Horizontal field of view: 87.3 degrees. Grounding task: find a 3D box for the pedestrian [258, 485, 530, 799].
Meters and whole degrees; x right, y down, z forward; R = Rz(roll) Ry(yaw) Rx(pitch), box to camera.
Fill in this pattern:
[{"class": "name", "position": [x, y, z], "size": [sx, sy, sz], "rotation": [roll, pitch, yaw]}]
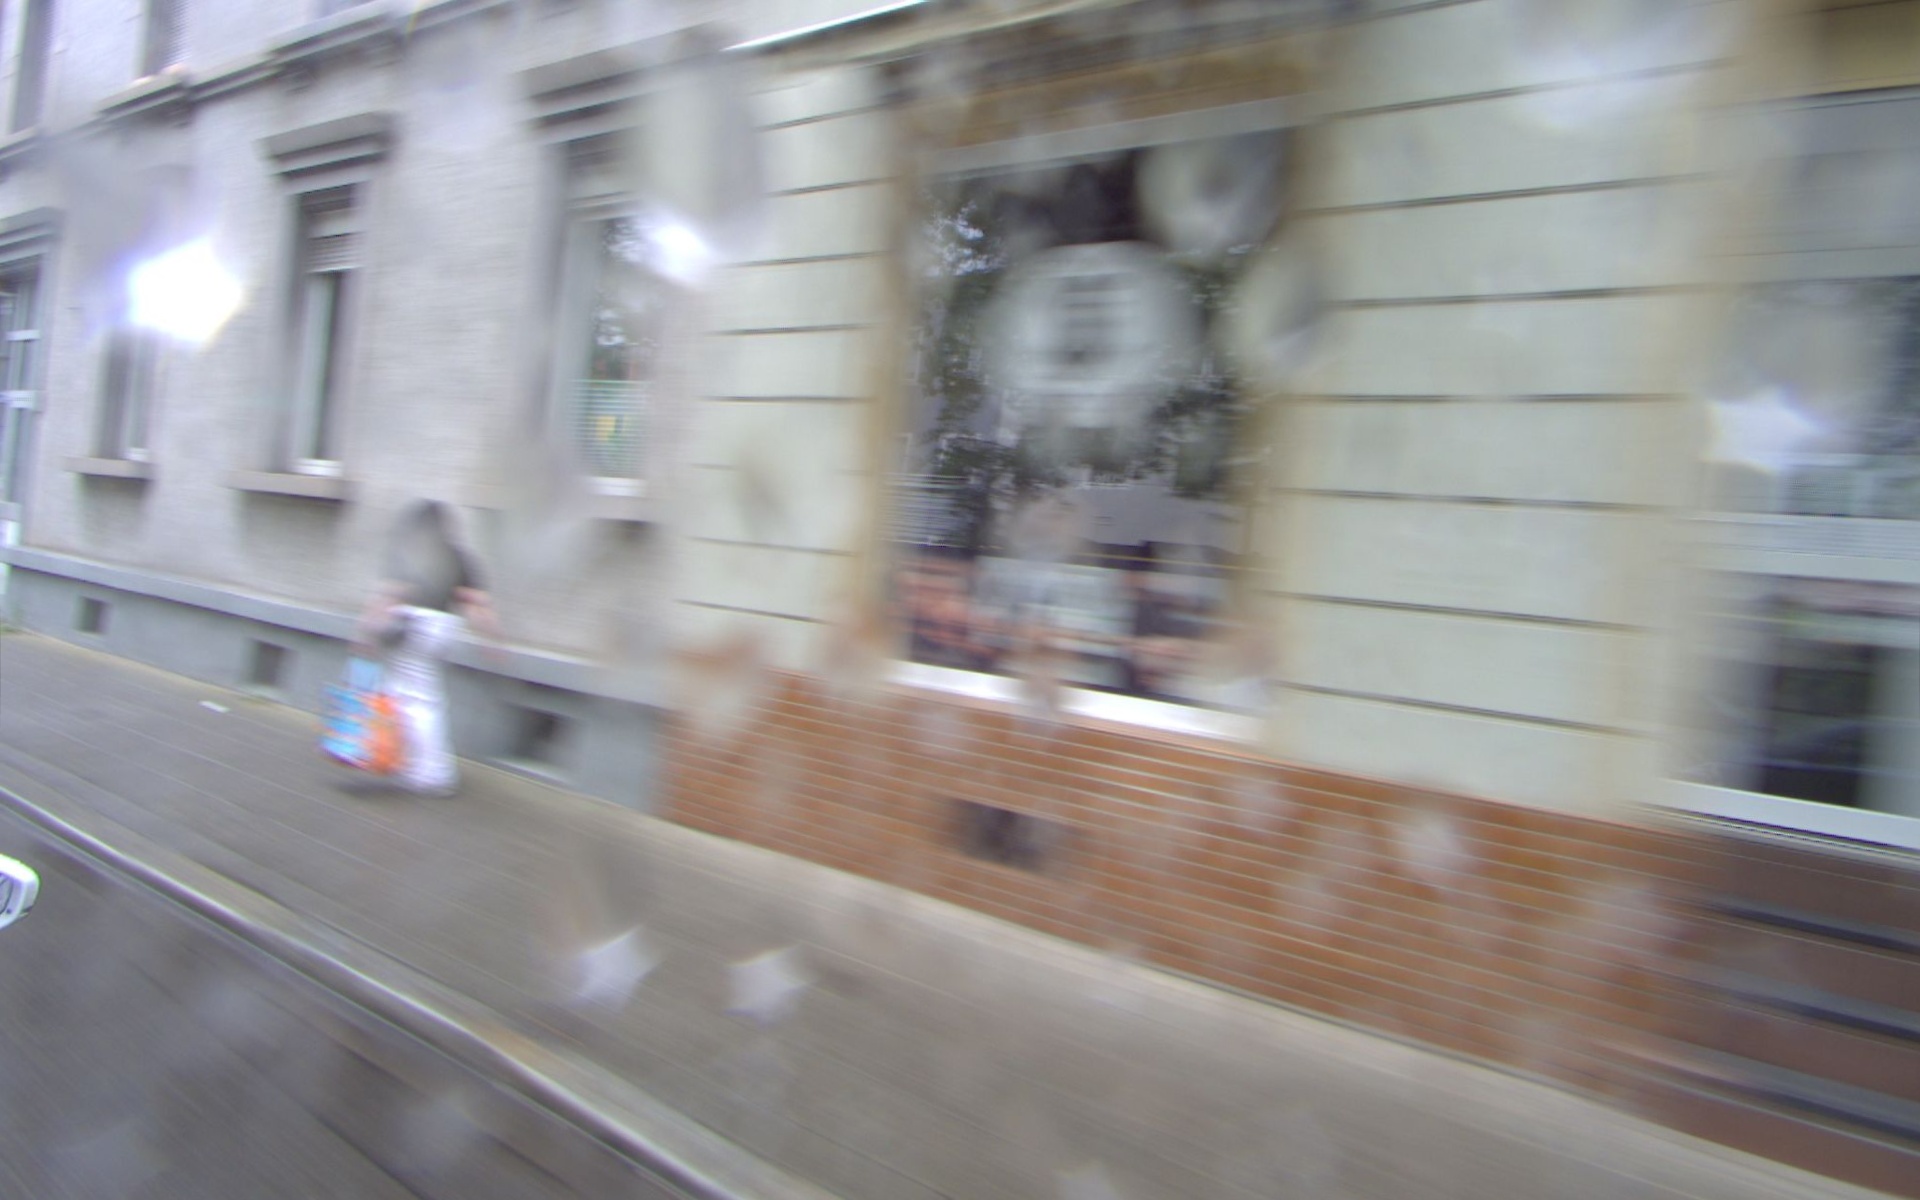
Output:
[{"class": "pedestrian", "position": [-3.181, 0.193, 5.662], "size": [1.089, 1.532, 0.840], "rotation": [7, 4, 31]}]
